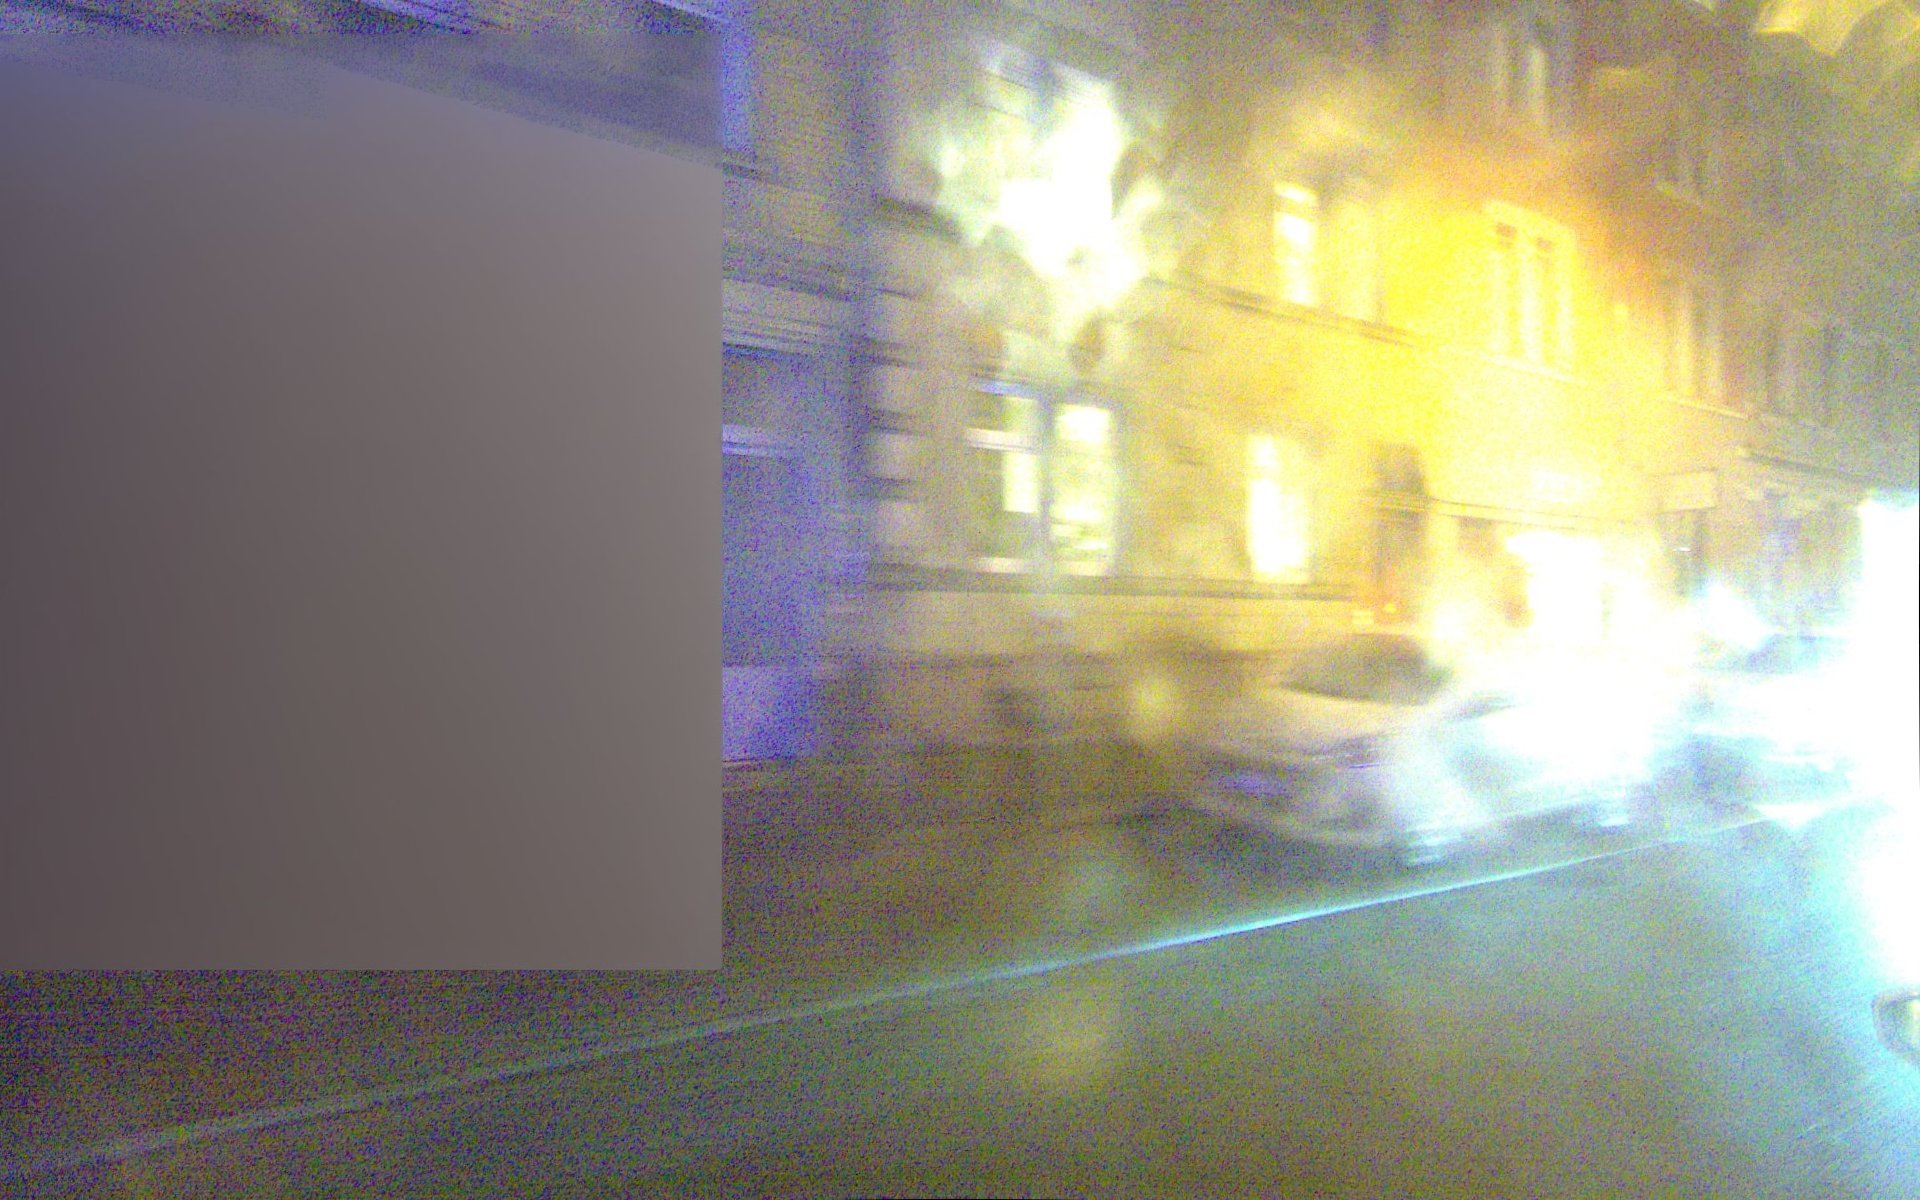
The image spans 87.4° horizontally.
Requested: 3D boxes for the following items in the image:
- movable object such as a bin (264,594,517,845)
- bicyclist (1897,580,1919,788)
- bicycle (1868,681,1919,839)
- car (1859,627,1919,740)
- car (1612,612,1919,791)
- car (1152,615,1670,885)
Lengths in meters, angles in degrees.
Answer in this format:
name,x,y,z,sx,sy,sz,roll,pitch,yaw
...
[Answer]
name,x,y,z,sx,sy,sz,roll,pitch,yaw
movable object such as a bin,-3.802,0.731,6.756,1.363,1.473,1.095,1,-2,-32
bicyclist,7.803,0.637,7.657,0.885,1.576,0.715,1,-2,-30
bicycle,7.897,1.175,7.696,2.321,1.087,0.724,1,-2,-31
car,14.027,1.061,13.395,4.374,1.408,1.813,1,-1,-31
car,8.977,0.942,10.725,4.086,1.593,1.766,1,-1,-31
car,3.372,0.888,7.389,3.678,1.511,1.664,1,0,-31
